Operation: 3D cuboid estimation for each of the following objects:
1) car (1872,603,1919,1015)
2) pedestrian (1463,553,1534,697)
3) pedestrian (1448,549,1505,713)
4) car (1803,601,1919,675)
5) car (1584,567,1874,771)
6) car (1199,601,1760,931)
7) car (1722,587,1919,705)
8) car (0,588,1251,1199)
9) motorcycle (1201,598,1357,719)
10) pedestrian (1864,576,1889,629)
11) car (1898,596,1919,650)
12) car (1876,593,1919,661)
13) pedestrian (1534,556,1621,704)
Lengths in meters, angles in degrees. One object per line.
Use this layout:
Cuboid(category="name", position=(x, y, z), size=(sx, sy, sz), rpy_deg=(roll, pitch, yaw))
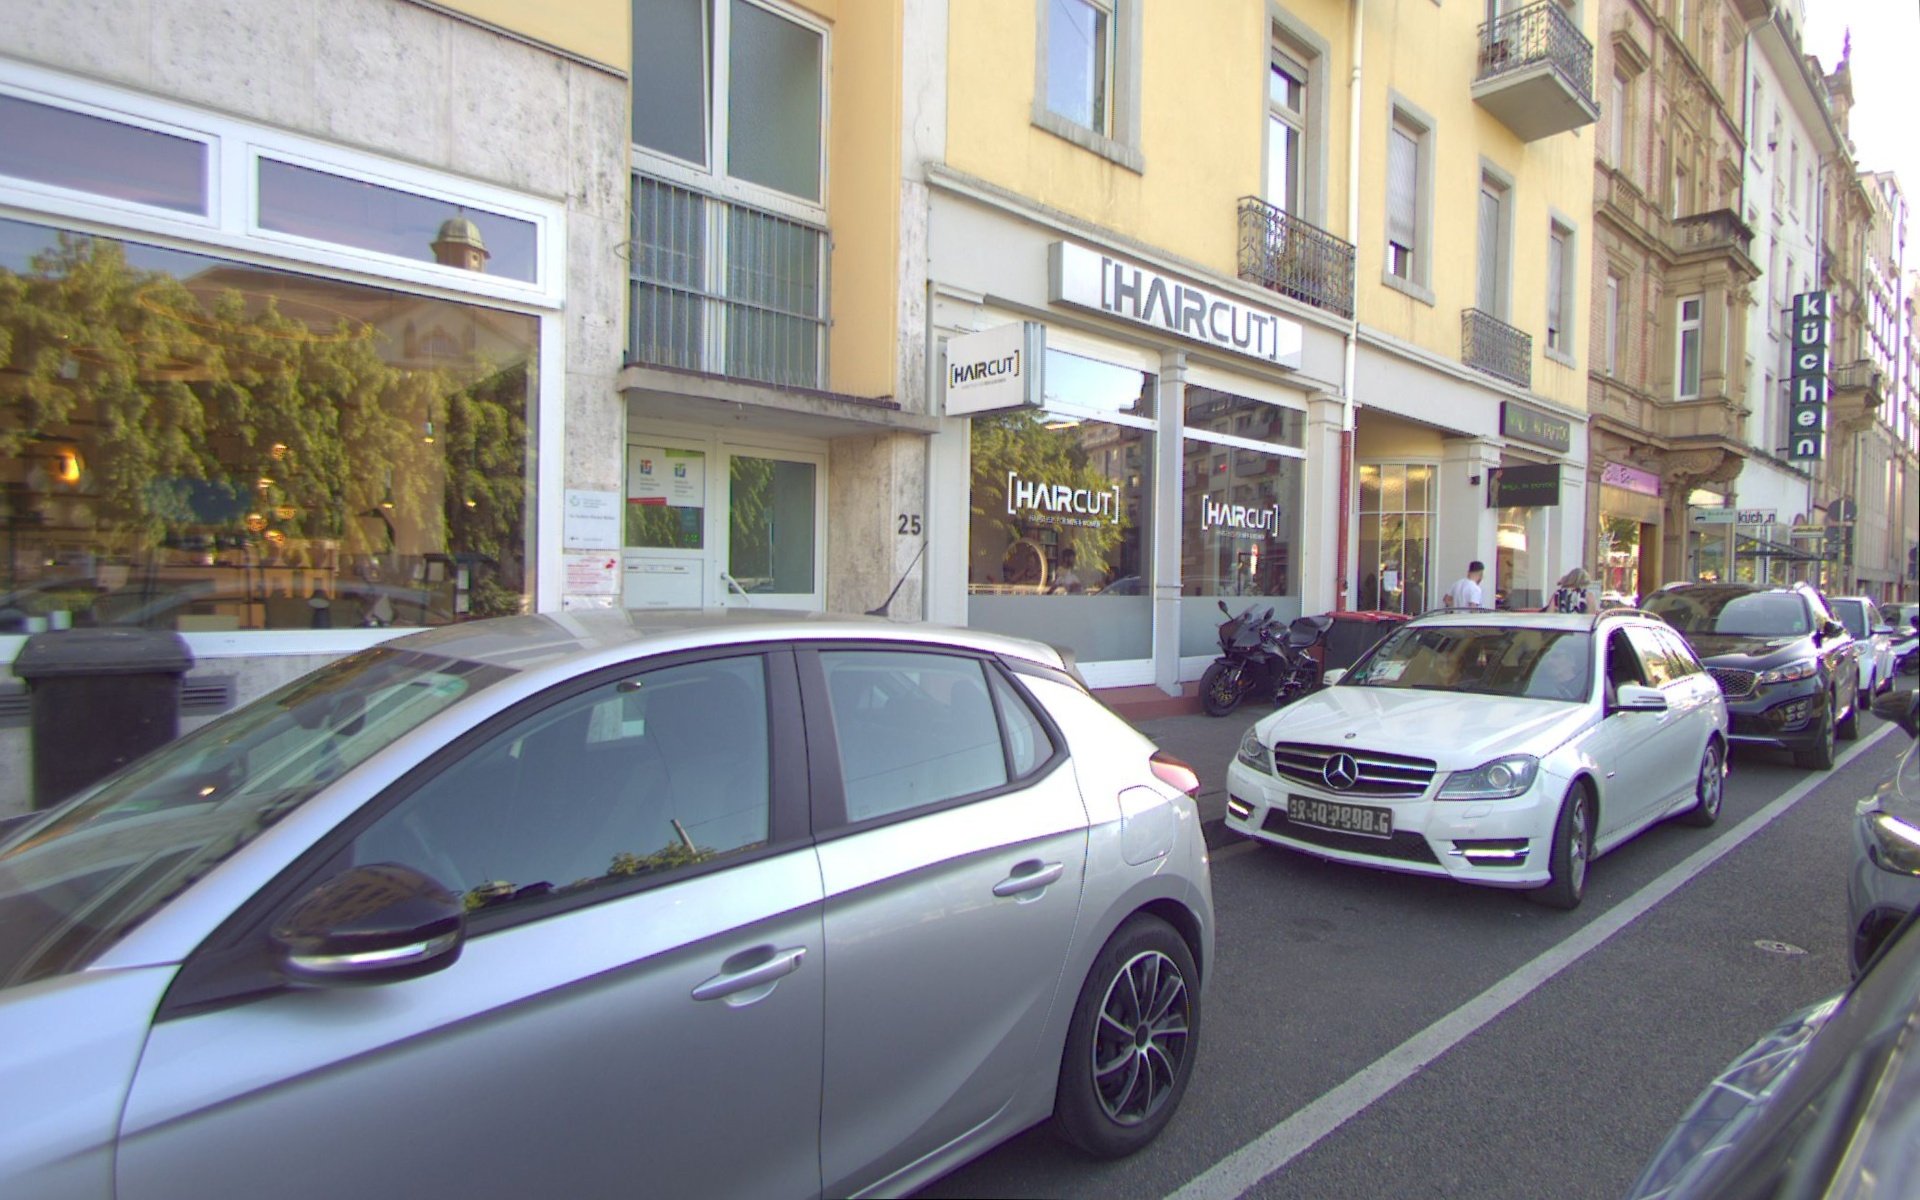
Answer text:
Cuboid(category="car", position=(5.225, 0.707, 4.199), size=(3.932, 1.376, 1.800), rpy_deg=(-1, 1, -43))
Cuboid(category="pedestrian", position=(7.207, 0.321, 13.547), size=(0.565, 1.874, 0.664), rpy_deg=(0, 0, -39))
Cuboid(category="pedestrian", position=(6.520, 0.375, 12.801), size=(0.367, 2.008, 0.693), rpy_deg=(1, 1, 5))
Cuboid(category="car", position=(18.139, 0.681, 19.964), size=(4.016, 1.282, 1.800), rpy_deg=(-1, 1, -42))
Cuboid(category="car", position=(7.981, 0.535, 10.349), size=(4.176, 1.659, 1.799), rpy_deg=(-1, 0, -45))
Cuboid(category="car", position=(3.517, 0.720, 6.445), size=(4.302, 1.376, 1.703), rpy_deg=(-1, 0, -41))
Cuboid(category="car", position=(13.079, 0.582, 15.282), size=(4.016, 1.546, 1.800), rpy_deg=(-1, 0, -42))
Cuboid(category="car", position=(-1.006, 0.699, 2.276), size=(3.597, 1.445, 1.549), rpy_deg=(-1, 1, -42))
Cuboid(category="motorcycle", position=(3.314, 0.548, 10.407), size=(1.920, 1.091, 0.567), rpy_deg=(-1, 4, -41))
Cuboid(category="pedestrian", position=(32.797, 0.090, 36.213), size=(0.653, 1.874, 0.574), rpy_deg=(0, 0, -40))
Cuboid(category="car", position=(26.632, 0.598, 27.196), size=(3.773, 1.357, 1.800), rpy_deg=(-1, 1, -42))
Cuboid(category="car", position=(22.257, 0.575, 23.085), size=(4.016, 1.450, 1.657), rpy_deg=(-1, 0, -42))
Cuboid(category="pedestrian", position=(7.283, 0.333, 11.947), size=(0.595, 1.674, 0.718), rpy_deg=(0, 0, -41))
